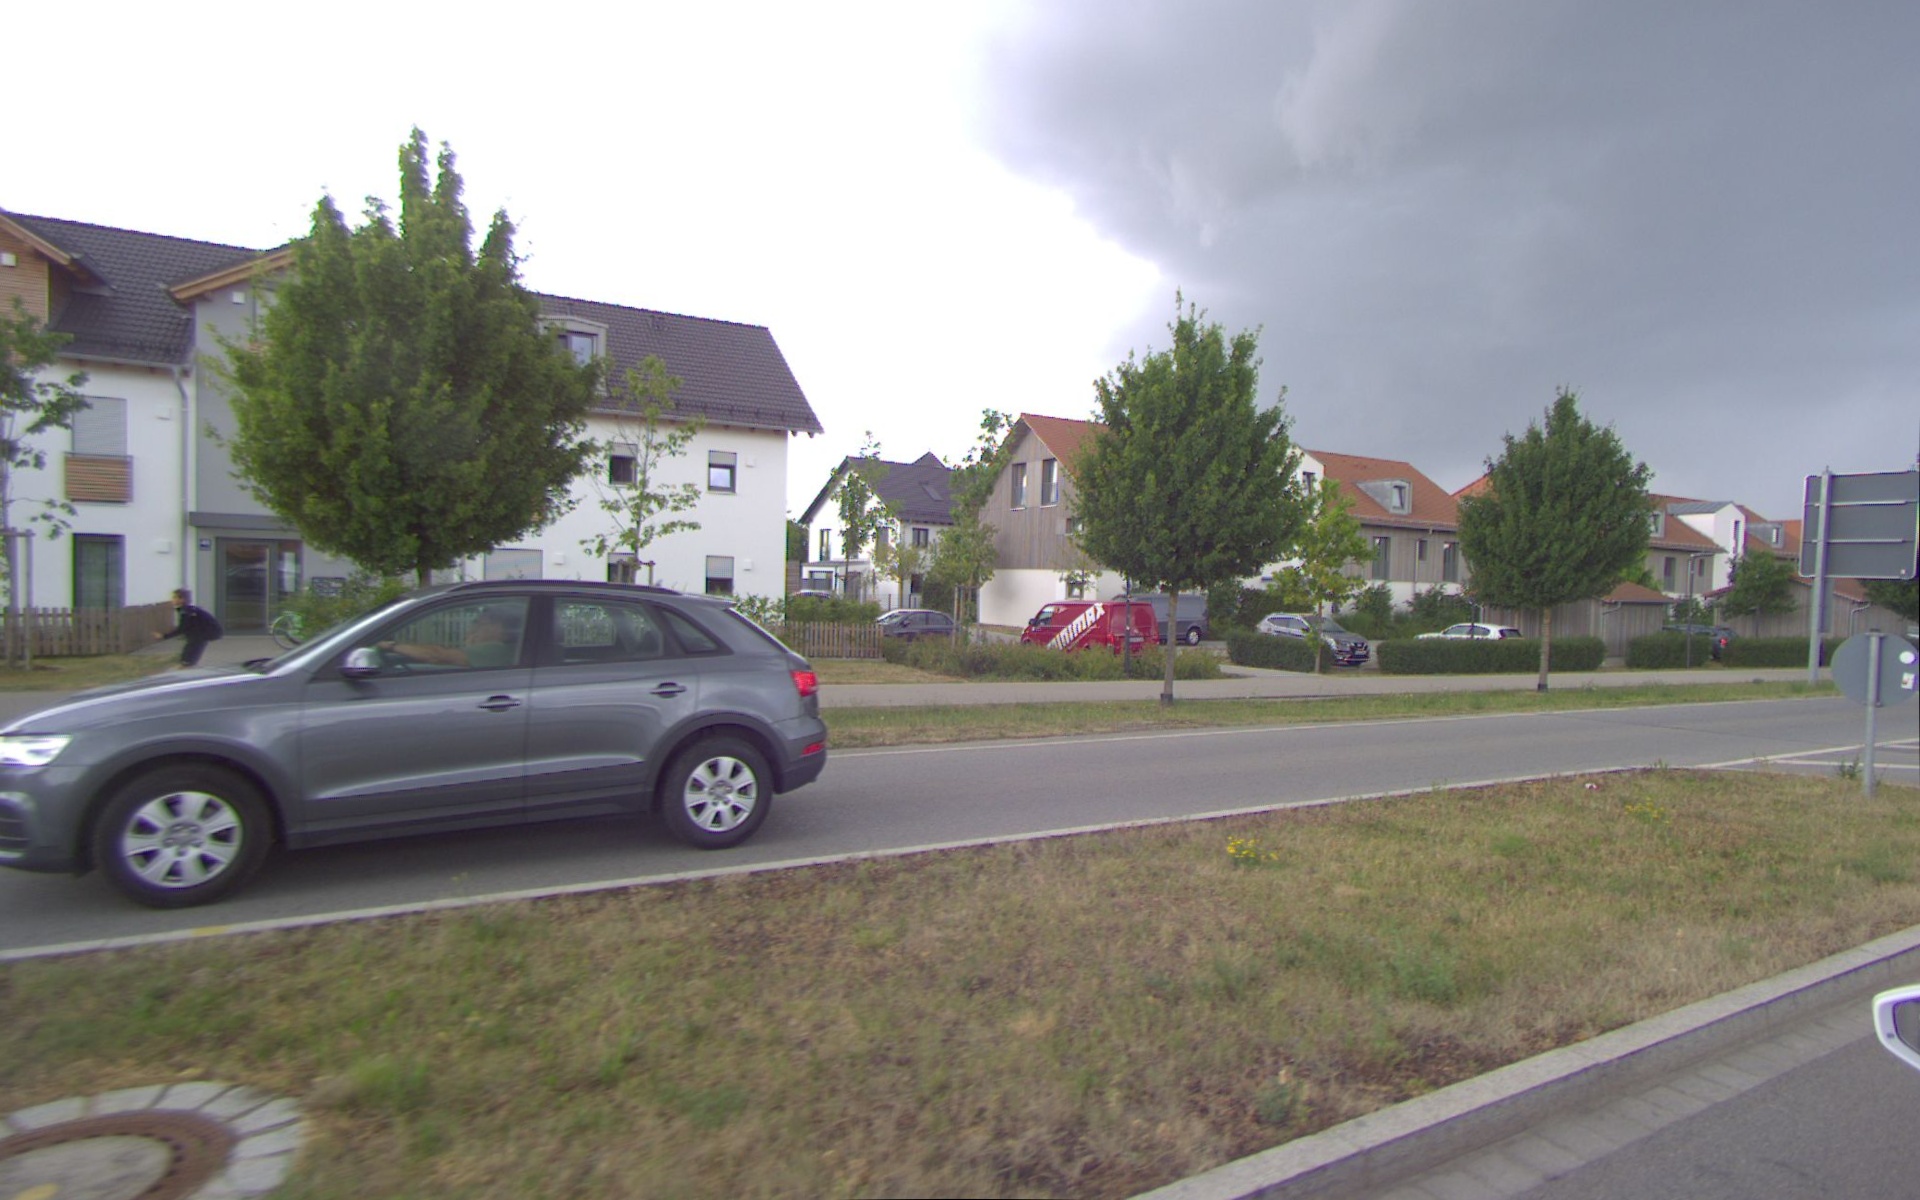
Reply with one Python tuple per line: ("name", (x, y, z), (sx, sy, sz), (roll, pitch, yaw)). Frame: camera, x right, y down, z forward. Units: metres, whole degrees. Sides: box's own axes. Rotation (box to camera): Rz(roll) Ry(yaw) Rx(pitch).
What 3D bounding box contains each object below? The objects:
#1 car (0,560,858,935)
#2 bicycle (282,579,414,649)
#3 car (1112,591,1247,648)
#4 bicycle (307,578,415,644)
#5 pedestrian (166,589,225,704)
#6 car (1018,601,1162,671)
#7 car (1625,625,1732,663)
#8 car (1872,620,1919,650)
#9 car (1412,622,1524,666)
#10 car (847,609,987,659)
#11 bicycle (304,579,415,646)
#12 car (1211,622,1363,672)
("car", (-2.893, 0.664, 6.054), (4.166, 1.603, 1.817), (1, 0, -30))
("bicycle", (-12.865, 0.303, 21.199), (2.316, 1.431, 0.679), (1, 0, -30))
("car", (8.812, 0.791, 40.326), (5.133, 2.041, 1.986), (1, 4, -27))
("bicycle", (-13.636, 0.264, 22.929), (2.070, 1.447, 0.679), (1, 0, -30))
("pedestrian", (-10.733, 0.642, 14.107), (0.579, 1.551, 0.543), (1, 3, -30))
("car", (3.629, 0.959, 29.123), (1.880, 1.840, 4.892), (1, 0, -24))
("car", (31.419, 1.912, 44.001), (1.545, 1.509, 3.498), (1, 0, -29))
("car", (57.381, 2.144, 59.892), (1.975, 1.577, 3.970), (1, 3, -28))
("car", (19.120, 1.635, 37.926), (1.545, 1.509, 3.498), (1, 0, -29))
("car", (-1.331, 1.045, 31.319), (3.953, 1.439, 1.867), (1, 0, -30))
("bicycle", (-13.266, 0.283, 22.248), (2.070, 1.436, 0.679), (1, 0, -30))
("car", (10.774, 1.501, 33.446), (1.882, 1.449, 4.885), (1, 0, -28))
